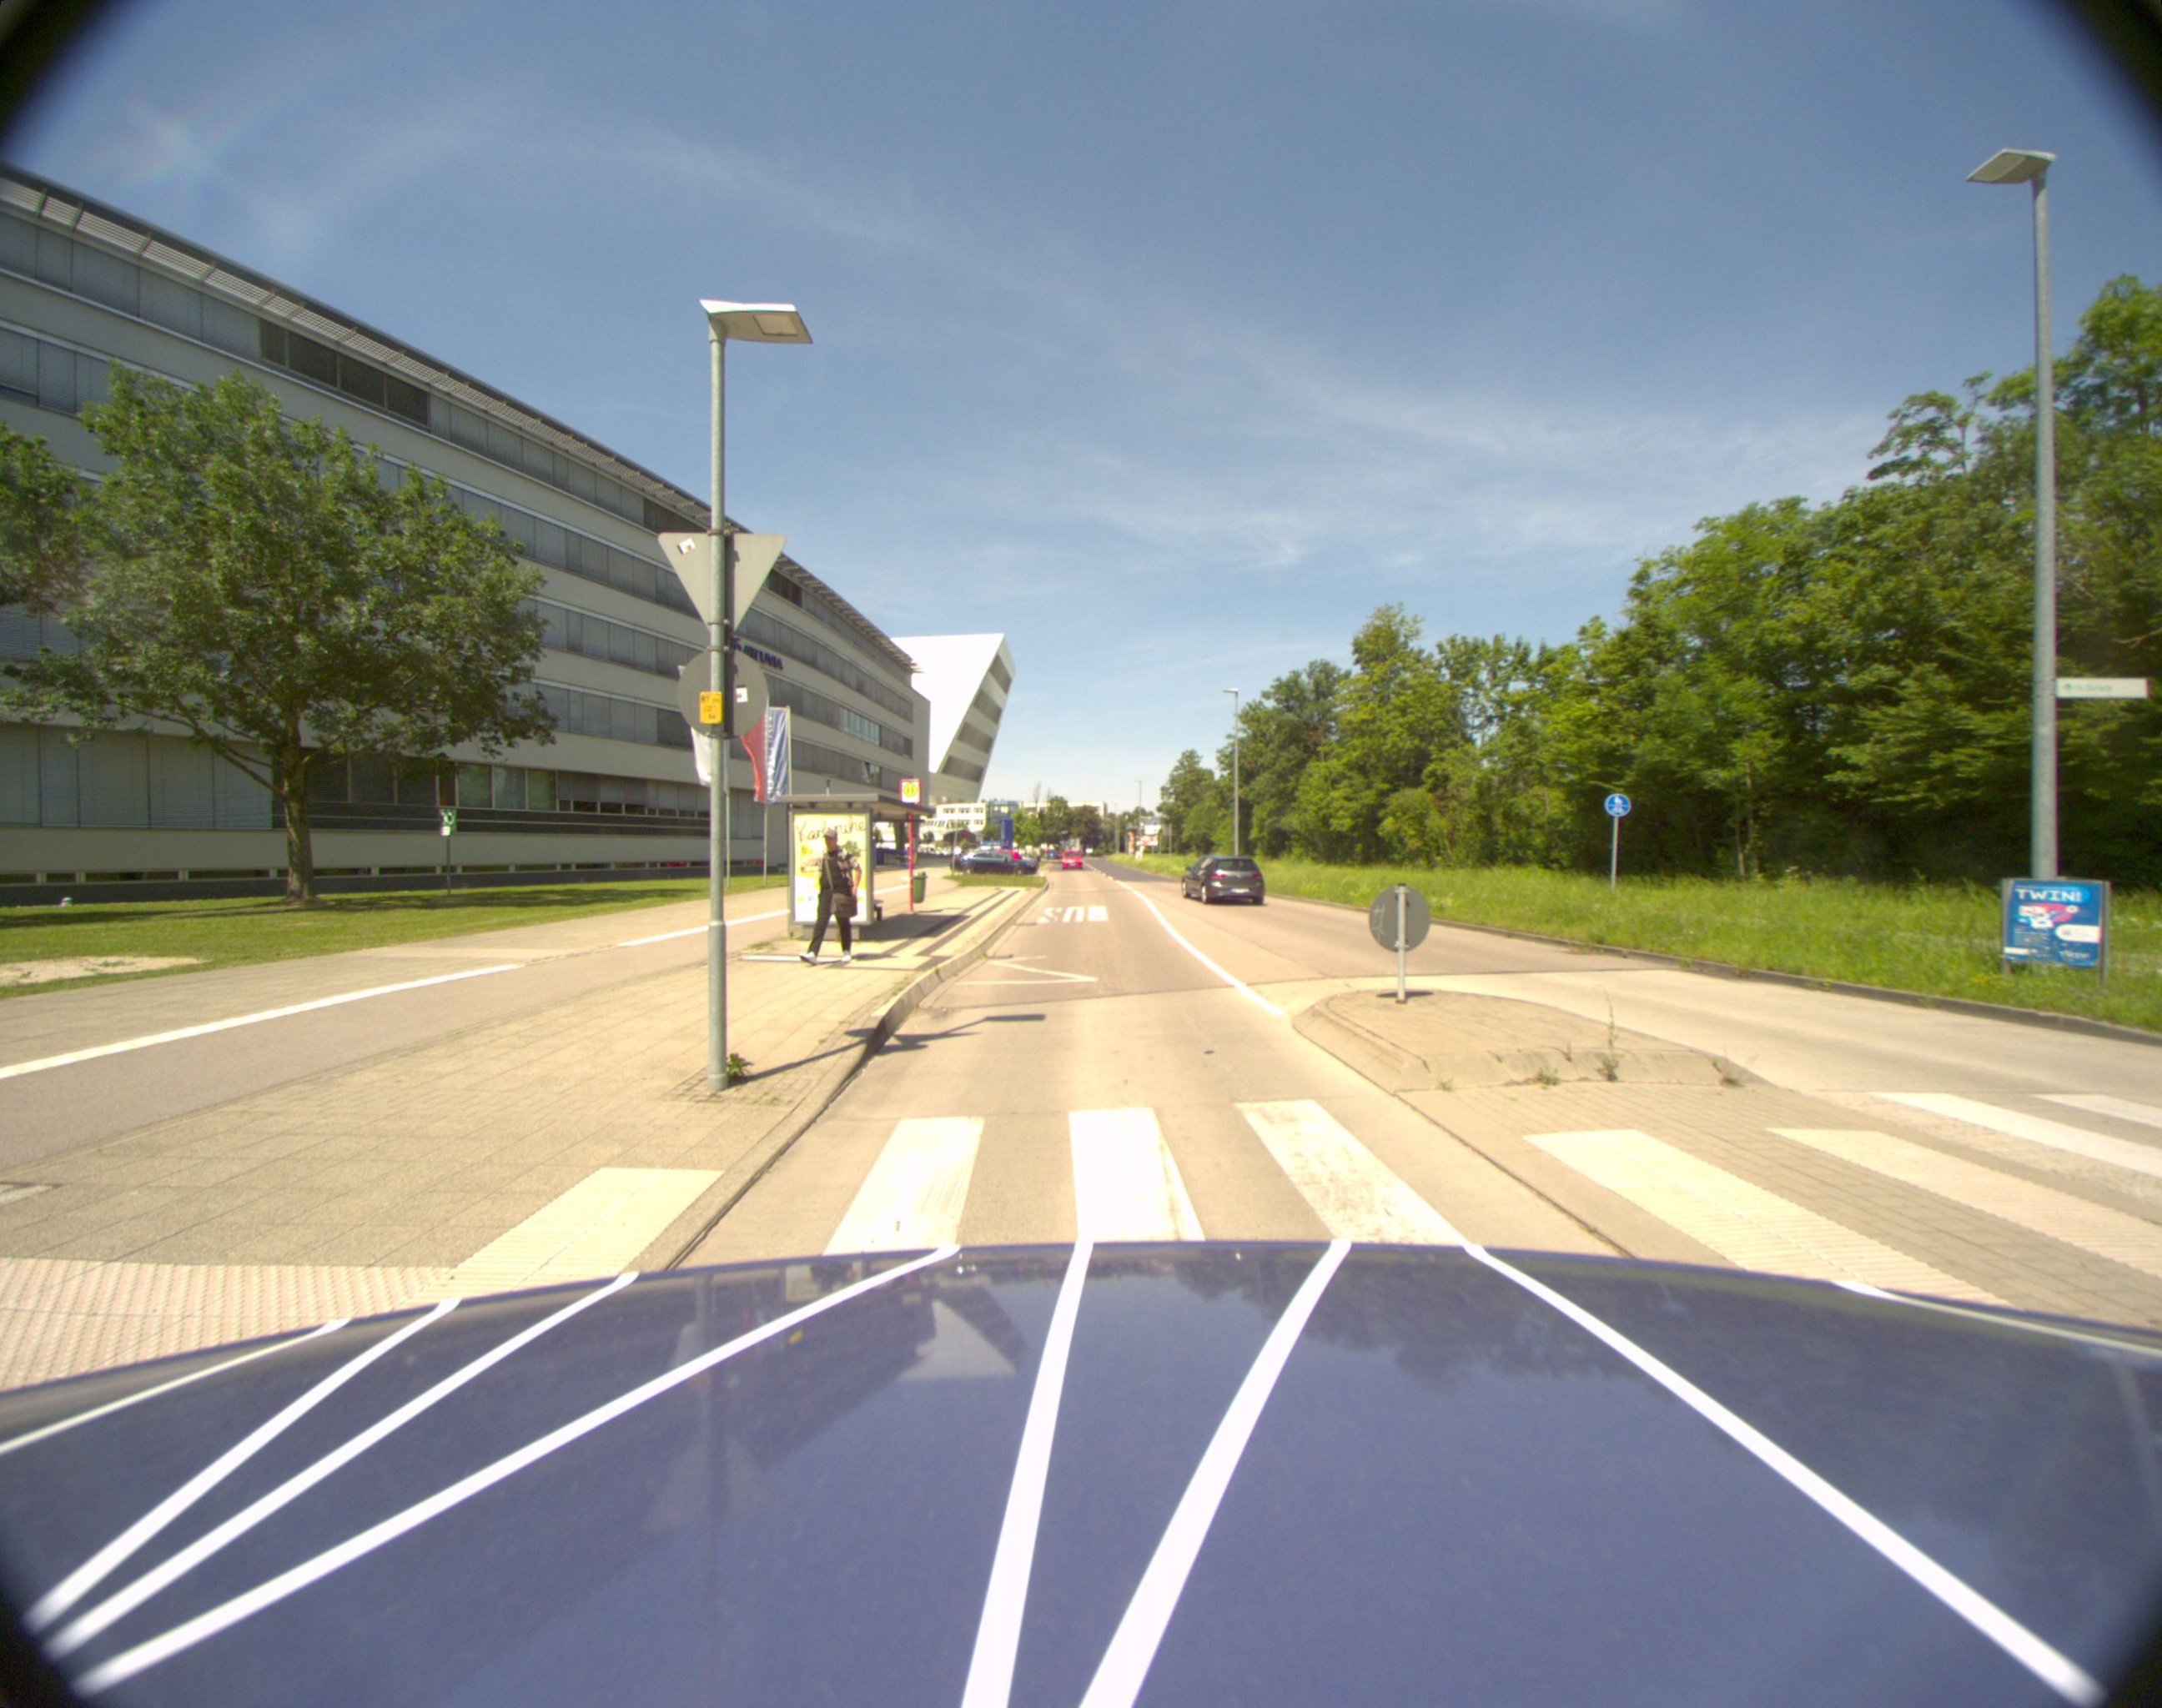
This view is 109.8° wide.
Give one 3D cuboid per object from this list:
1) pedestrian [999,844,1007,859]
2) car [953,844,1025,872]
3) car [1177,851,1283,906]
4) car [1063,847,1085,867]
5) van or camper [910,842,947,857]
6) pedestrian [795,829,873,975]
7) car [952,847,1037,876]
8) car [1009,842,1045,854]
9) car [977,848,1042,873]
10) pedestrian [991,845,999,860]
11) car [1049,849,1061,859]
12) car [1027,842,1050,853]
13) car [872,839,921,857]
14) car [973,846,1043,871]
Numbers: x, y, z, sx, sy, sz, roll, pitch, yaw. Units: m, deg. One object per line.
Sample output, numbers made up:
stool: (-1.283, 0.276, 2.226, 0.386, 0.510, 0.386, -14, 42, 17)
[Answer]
pedestrian: (-8.704, -0.296, 84.730, 0.844, 1.691, 0.775, -1, 1, -2)
car: (-5.426, 0.231, 44.991, 3.997, 1.645, 1.839, 0, 1, 1)
car: (4.363, 0.686, 22.971, 1.999, 1.470, 4.287, 1, 0, -5)
car: (-0.520, 0.196, 60.468, 1.662, 1.495, 3.356, -1, 1, 1)
van or camper: (-25.203, -0.698, 125.787, 5.699, 2.376, 1.704, -1, 1, 5)
pedestrian: (-3.212, 0.599, 9.937, 0.710, 1.812, 0.826, 2, 1, -1)
car: (-4.767, 0.402, 42.276, 4.580, 1.424, 1.826, 2, 1, -3)
car: (-10.089, -1.085, 143.153, 6.492, 2.137, 2.165, -1, 1, 5)
car: (-4.419, 0.389, 47.106, 3.817, 1.477, 1.655, 1, 1, 1)
pedestrian: (-9.579, -0.208, 84.694, 0.844, 1.650, 0.775, -1, 1, -2)
car: (-4.226, -0.051, 124.395, 1.802, 1.490, 3.998, -1, 1, -2)
car: (-8.312, -1.229, 148.925, 4.204, 1.964, 1.704, -1, 1, 5)
car: (-28.475, -0.891, 117.340, 6.962, 2.647, 2.255, -1, 1, 6)
car: (-4.712, 0.284, 49.519, 4.332, 1.555, 1.786, 1, 1, 0)
